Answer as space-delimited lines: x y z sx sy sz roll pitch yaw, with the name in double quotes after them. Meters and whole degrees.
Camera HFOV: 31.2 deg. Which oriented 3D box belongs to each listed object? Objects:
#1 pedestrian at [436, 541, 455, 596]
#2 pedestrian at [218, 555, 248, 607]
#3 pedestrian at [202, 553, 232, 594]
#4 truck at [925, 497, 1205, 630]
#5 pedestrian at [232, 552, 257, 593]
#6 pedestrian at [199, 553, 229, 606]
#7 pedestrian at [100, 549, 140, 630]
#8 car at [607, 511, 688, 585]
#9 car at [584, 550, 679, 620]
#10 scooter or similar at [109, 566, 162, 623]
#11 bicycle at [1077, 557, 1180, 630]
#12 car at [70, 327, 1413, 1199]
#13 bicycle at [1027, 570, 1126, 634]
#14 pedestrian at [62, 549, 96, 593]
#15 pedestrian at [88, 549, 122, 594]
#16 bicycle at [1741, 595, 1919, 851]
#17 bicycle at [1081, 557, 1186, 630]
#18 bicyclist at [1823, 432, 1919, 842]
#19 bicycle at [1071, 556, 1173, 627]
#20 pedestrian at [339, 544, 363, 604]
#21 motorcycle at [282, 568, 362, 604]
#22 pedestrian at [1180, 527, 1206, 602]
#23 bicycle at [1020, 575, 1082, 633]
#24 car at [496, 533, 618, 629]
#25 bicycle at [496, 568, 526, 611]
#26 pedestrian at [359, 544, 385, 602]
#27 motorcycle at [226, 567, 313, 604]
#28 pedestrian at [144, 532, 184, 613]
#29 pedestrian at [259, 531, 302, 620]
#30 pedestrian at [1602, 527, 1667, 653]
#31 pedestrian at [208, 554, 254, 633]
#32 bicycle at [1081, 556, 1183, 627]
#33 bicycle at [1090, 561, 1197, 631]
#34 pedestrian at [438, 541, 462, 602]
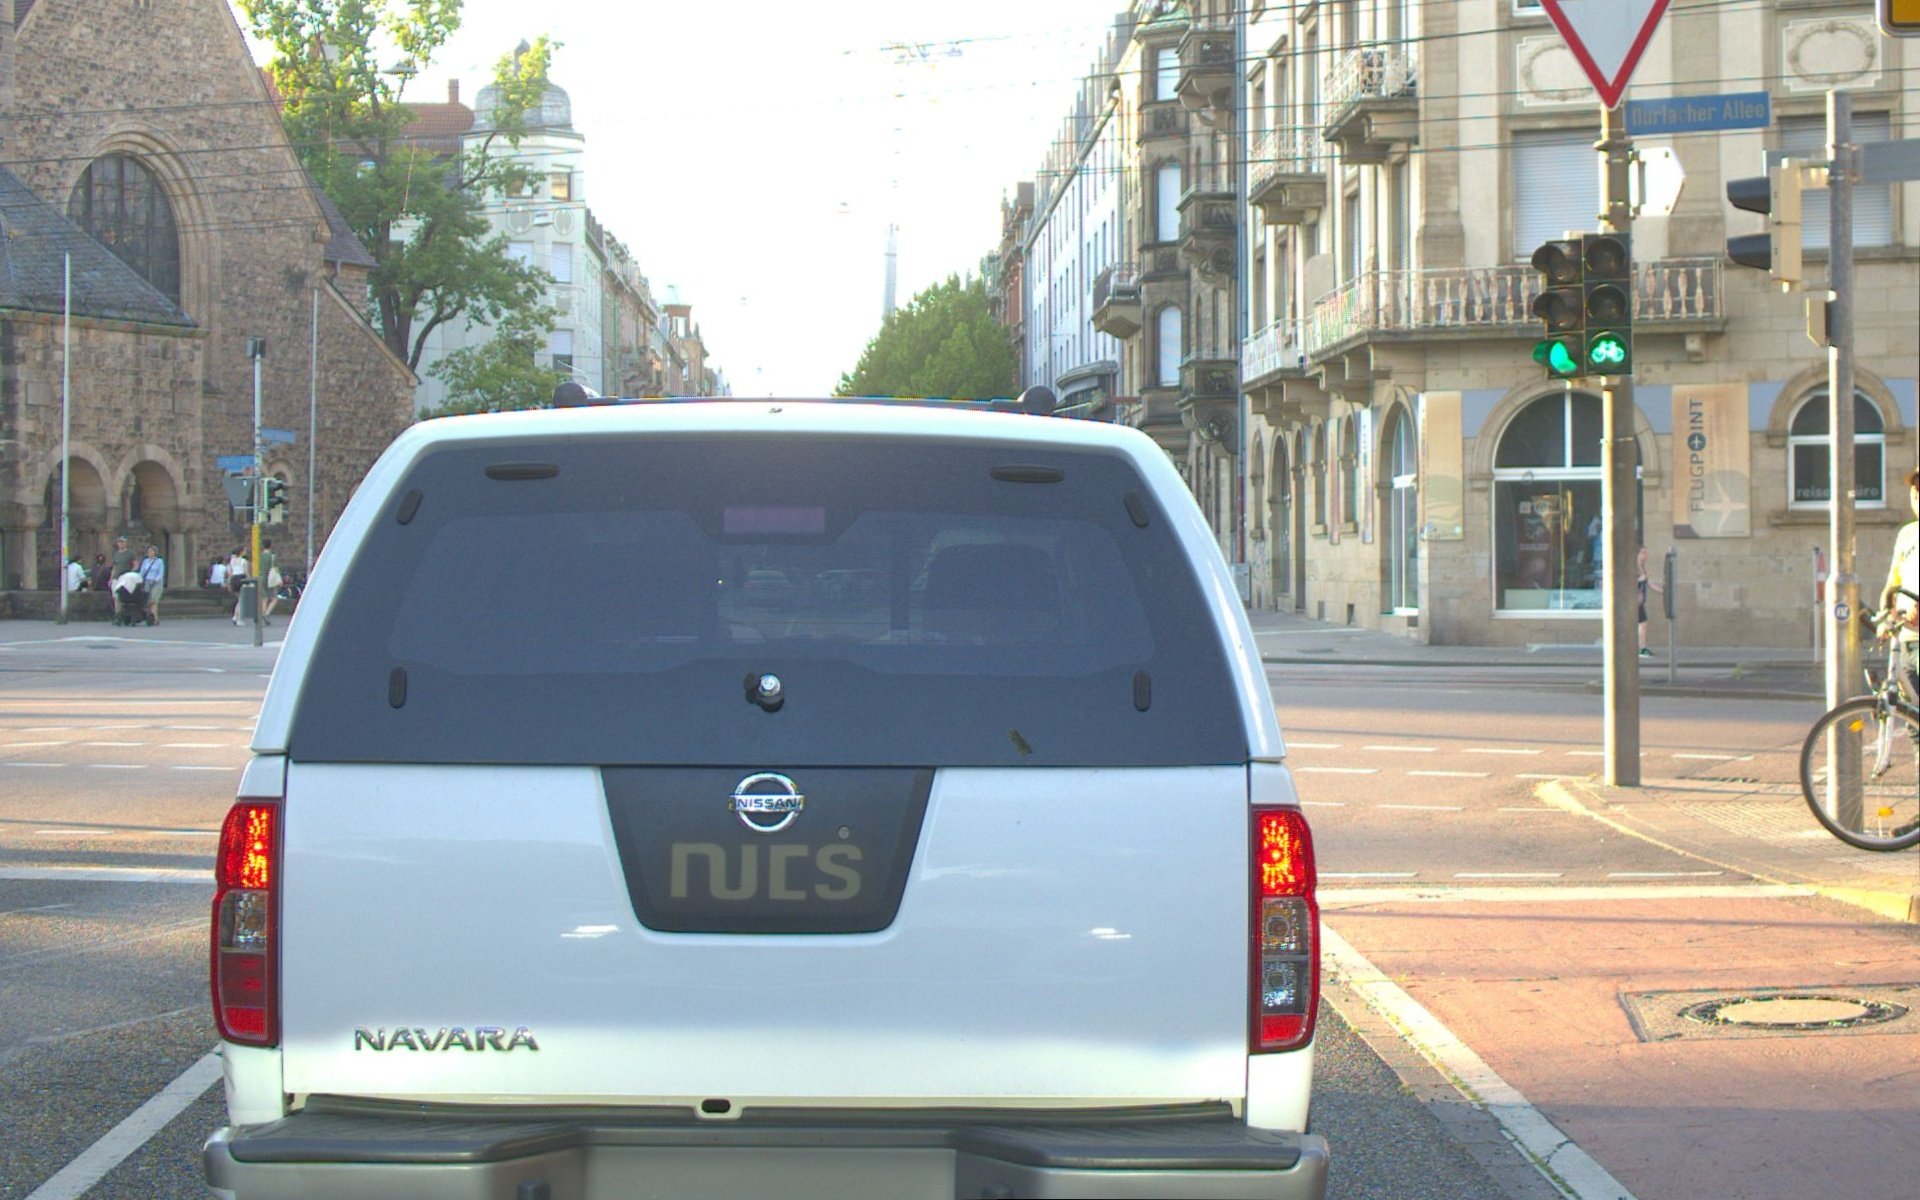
-15.968 -0.966 106.676 0.560 1.690 0.645 1 0 -8 "pedestrian"
-17.305 -0.448 81.856 0.478 1.241 0.523 1 0 17 "pedestrian"
-17.383 -0.624 80.413 0.522 0.957 0.479 1 0 17 "pedestrian"
2.150 -0.715 68.801 5.658 2.556 2.286 0 1 -44 "truck"
-16.694 -0.646 80.242 0.521 0.957 0.479 1 0 -16 "pedestrian"
-17.689 -0.491 81.505 0.478 1.241 0.523 1 0 17 "pedestrian"
-17.810 -0.220 72.917 0.634 1.693 0.602 1 0 7 "pedestrian"
-8.823 -1.456 97.460 1.993 2.007 4.951 -1 0 -2 "car"
-7.919 -0.341 83.204 1.993 1.552 4.769 -2 0 -3 "car"
-17.219 -0.117 71.801 0.634 1.099 1.078 -1 3 12 "scooter or similar"
3.132 -0.122 63.897 1.817 1.233 0.478 -3 0 -2 "bicycle"
-0.354 0.499 7.161 1.993 1.803 4.000 1 0 -1 "car"
2.116 0.036 62.710 1.726 1.080 0.317 -3 0 -2 "bicycle"
-19.208 -0.624 74.977 0.522 0.957 0.479 1 0 19 "pedestrian"
-18.582 -0.615 74.703 0.522 0.957 0.479 1 0 19 "pedestrian"
4.547 0.540 15.710 2.065 1.106 0.628 1 0 -33 "bicycle"
3.180 -0.123 63.186 1.817 1.233 0.488 -3 0 -2 "bicycle"
4.414 0.164 15.625 0.696 1.818 0.628 1 0 -33 "bicyclist"
3.095 -0.162 65.759 1.855 1.233 0.531 -3 0 -2 "bicycle"
-17.276 -0.739 97.532 0.642 1.690 0.562 1 0 -9 "pedestrian"
-17.818 -0.396 96.022 2.167 0.984 0.593 1 0 19 "motorcycle"
5.146 -0.780 75.913 0.527 1.648 0.547 1 0 -1 "pedestrian"
1.681 0.071 63.594 1.076 1.021 0.317 -3 0 -2 "bicycle"
-8.135 -0.413 69.731 1.993 1.778 4.798 -2 2 -2 "car"
-11.100 -0.257 85.039 0.599 1.040 1.946 1 0 -4 "bicycle"
-17.085 -0.787 99.834 0.642 1.690 0.562 1 0 -1 "pedestrian"
-18.815 -0.399 93.732 2.243 0.984 0.708 1 0 -6 "motorcycle"
-16.826 -0.584 72.683 0.634 1.693 0.602 1 0 10 "pedestrian"
-14.668 -0.525 74.229 0.812 1.894 0.666 1 0 -3 "pedestrian"
9.603 -0.148 48.942 0.788 1.773 0.543 1 0 25 "pedestrian"
-15.705 -0.140 74.089 0.812 1.664 0.860 1 0 -3 "pedestrian"
3.224 -0.158 64.623 1.817 1.233 0.412 -3 0 -2 "bicycle"
3.315 -0.073 62.246 1.817 1.146 0.636 -3 0 -2 "bicycle"
-15.707 -0.875 105.838 0.642 1.849 0.562 1 0 -15 "pedestrian"
